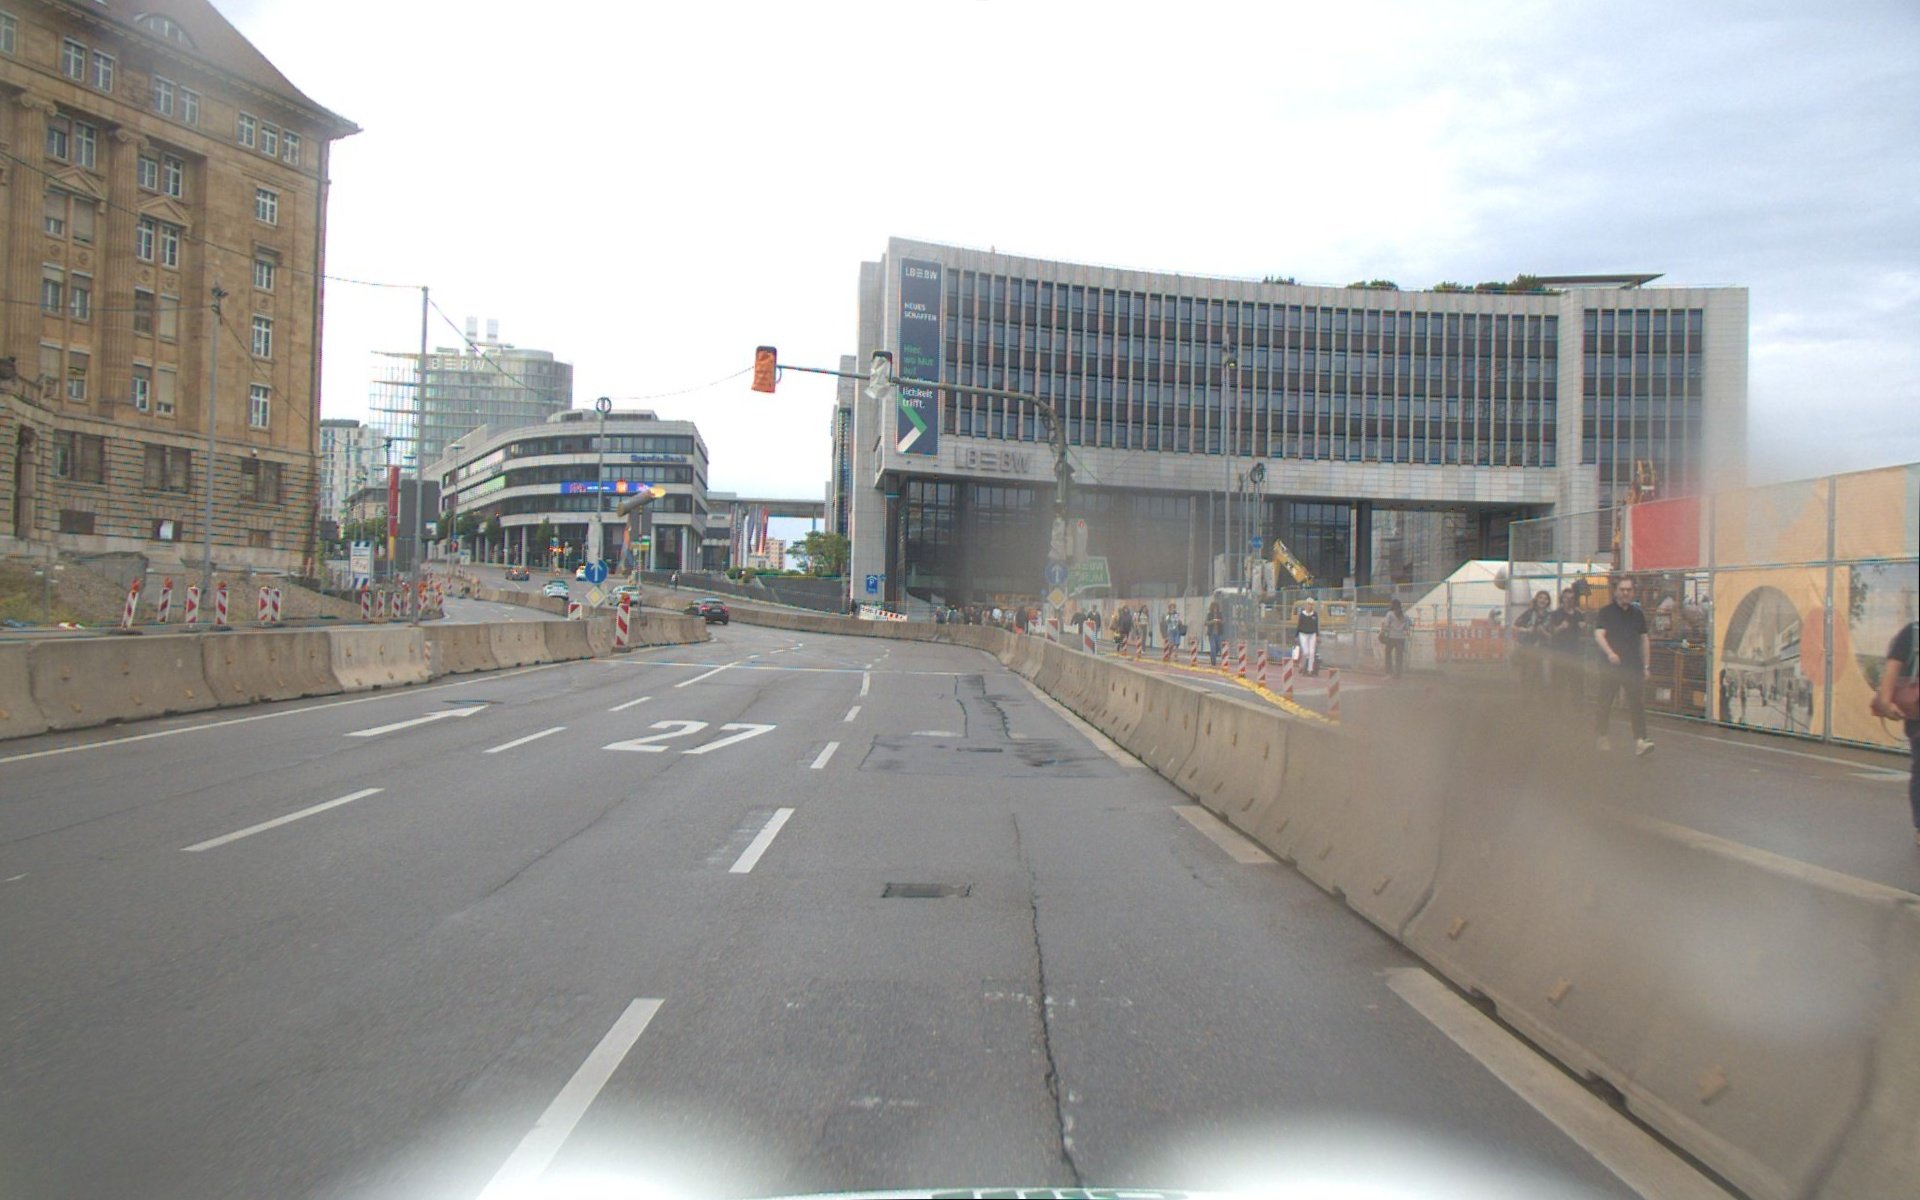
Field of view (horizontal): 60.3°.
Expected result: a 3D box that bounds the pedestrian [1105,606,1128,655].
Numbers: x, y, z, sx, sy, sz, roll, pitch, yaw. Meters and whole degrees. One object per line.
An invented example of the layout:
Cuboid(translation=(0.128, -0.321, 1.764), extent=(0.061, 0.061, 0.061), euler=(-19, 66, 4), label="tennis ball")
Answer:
Cuboid(translation=(6.102, 1.179, 64.471), extent=(0.718, 1.886, 0.830), euler=(1, -1, -4), label="pedestrian")

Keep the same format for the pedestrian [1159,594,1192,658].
Cuboid(translation=(6.516, 0.787, 49.967), extent=(0.764, 1.894, 0.948), euler=(1, 0, -6), label="pedestrian")

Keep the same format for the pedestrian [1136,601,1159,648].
Cuboid(translation=(7.571, 0.979, 66.775), extent=(0.764, 1.894, 0.810), euler=(0, 0, -6), label="pedestrian")

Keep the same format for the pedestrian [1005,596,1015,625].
Cuboid(translation=(3.062, 0.661, 100.907), extent=(0.490, 1.734, 0.732), euler=(1, 0, -4), label="pedestrian")

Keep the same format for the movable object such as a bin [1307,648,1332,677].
Cuboid(translation=(8.277, 1.437, 38.098), extent=(0.425, 0.635, 0.534), euler=(1, 0, -6), label="movable object such as a bin")

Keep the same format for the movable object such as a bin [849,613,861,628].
Cuboid(translation=(-6.880, 1.322, 108.429), extent=(0.590, 0.950, 0.736), euler=(2, -1, -24), label="movable object such as a bin")

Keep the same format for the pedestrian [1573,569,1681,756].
Cuboid(translation=(7.030, 0.641, 17.458), extent=(0.780, 1.910, 0.820), euler=(1, 0, 0), label="pedestrian")

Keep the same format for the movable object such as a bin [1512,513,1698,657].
Cuboid(translation=(16.766, -0.380, 43.351), extent=(3.844, 3.553, 4.359), euler=(0, 0, 11), label="movable object such as a bin")

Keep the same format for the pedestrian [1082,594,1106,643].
Cuboid(translation=(5.285, 0.720, 65.058), extent=(0.764, 1.894, 0.810), euler=(1, 0, -6), label="pedestrian")

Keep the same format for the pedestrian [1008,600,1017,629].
Cuboid(translation=(3.101, 0.859, 98.655), extent=(0.439, 1.734, 0.646), euler=(1, 0, -4), label="pedestrian")

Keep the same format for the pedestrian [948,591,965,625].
Cuboid(translation=(-0.190, 0.393, 83.740), extent=(0.647, 1.670, 0.820), euler=(1, 0, -14), label="pedestrian")

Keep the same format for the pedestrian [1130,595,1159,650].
Cuboid(translation=(6.469, 0.770, 58.137), extent=(0.764, 1.894, 1.057), euler=(1, 0, -6), label="pedestrian")

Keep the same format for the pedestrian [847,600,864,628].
Cuboid(translation=(-6.894, 0.929, 108.846), extent=(0.746, 1.821, 1.050), euler=(2, -1, -23), label="pedestrian")

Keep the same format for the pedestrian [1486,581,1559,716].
Cuboid(translation=(7.909, 0.674, 23.264), extent=(0.780, 1.866, 0.626), euler=(1, -1, -1), label="pedestrian")

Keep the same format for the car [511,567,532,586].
Cuboid(translation=(-44.561, -2.372, 167.950), extent=(1.961, 1.835, 4.247), euler=(1, 1, -16), label="car")

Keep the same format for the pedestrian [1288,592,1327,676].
Cuboid(translation=(7.930, 0.775, 37.778), extent=(0.652, 1.894, 0.682), euler=(1, 0, -6), label="pedestrian")

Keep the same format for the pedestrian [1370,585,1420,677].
Cuboid(translation=(9.045, 0.636, 34.392), extent=(0.771, 1.894, 0.682), euler=(1, 0, -6), label="pedestrian")

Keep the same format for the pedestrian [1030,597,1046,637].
Cuboid(translation=(4.086, 0.879, 86.983), extent=(0.768, 2.049, 0.863), euler=(1, 0, 4), label="pedestrian")

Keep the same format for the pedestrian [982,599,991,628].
Cuboid(translation=(1.583, 0.789, 98.957), extent=(0.438, 1.734, 0.647), euler=(1, 0, 6), label="pedestrian")

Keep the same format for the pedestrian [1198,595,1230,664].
Cuboid(translation=(7.130, 0.824, 46.491), extent=(0.676, 1.894, 0.810), euler=(1, 0, -6), label="pedestrian")

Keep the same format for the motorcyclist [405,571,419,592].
Cuboid(translation=(-38.995, -1.306, 117.728), extent=(0.789, 1.476, 0.818), euler=(1, 0, -28), label="motorcyclist")

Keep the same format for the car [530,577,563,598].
Cuboid(translation=(-32.477, -0.985, 129.869), extent=(1.721, 1.532, 3.720), euler=(2, 0, -27), label="car")

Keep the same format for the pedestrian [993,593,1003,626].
Cuboid(translation=(2.201, 0.544, 95.841), extent=(0.518, 1.850, 0.536), euler=(1, 0, -3), label="pedestrian")

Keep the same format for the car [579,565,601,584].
Cuboid(translation=(-38.550, -2.662, 172.381), extent=(1.961, 1.835, 4.247), euler=(1, 1, -16), label="car")

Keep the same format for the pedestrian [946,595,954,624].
Cuboid(translation=(-0.621, 0.582, 102.313), extent=(0.439, 1.734, 0.646), euler=(1, 0, -7), label="pedestrian")

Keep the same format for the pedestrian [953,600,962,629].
Cuboid(translation=(-0.174, 0.894, 102.361), extent=(0.445, 1.734, 0.646), euler=(1, 0, -7), label="pedestrian")

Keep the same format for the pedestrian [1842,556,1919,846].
Cuboid(translation=(6.512, 0.661, 10.995), extent=(0.906, 1.866, 0.686), euler=(1, 0, -1), label="pedestrian")

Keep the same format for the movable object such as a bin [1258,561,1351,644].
Cuboid(translation=(17.727, 0.142, 85.284), extent=(3.048, 4.100, 3.667), euler=(2, 0, -25), label="movable object such as a bin")

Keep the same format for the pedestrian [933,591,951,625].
Cuboid(translation=(-0.910, 0.394, 83.541), extent=(0.738, 1.670, 0.820), euler=(1, 0, -14), label="pedestrian")

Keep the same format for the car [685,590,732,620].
Cuboid(translation=(-14.536, 0.310, 95.538), extent=(1.654, 1.535, 3.714), euler=(2, -3, -26), label="car")

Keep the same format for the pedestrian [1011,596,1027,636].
Cuboid(translation=(3.127, 0.834, 87.070), extent=(0.768, 2.049, 0.863), euler=(1, 0, 4), label="pedestrian")

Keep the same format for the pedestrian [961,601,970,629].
Cuboid(translation=(0.340, 0.923, 102.427), extent=(0.439, 1.734, 0.646), euler=(1, 0, -7), label="pedestrian")

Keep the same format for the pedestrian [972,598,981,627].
Cuboid(translation=(0.981, 0.750, 99.288), extent=(0.439, 1.734, 0.647), euler=(1, 0, 3), label="pedestrian")

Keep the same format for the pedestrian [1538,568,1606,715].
Cuboid(translation=(8.660, 0.574, 23.420), extent=(0.665, 2.048, 0.686), euler=(1, 1, -1), label="pedestrian")

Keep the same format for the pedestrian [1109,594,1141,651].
Cuboid(translation=(5.659, 0.764, 56.750), extent=(0.853, 1.894, 0.947), euler=(1, 0, -6), label="pedestrian")

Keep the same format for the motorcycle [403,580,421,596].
Cuboid(translation=(-38.995, -0.856, 117.667), extent=(0.859, 1.168, 2.135), euler=(1, 0, -27), label="motorcycle")

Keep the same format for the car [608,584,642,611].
Cuboid(translation=(-23.797, -0.192, 117.429), extent=(1.714, 1.908, 3.753), euler=(1, 0, -21), label="car")

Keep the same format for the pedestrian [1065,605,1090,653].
Cuboid(translation=(4.561, 1.124, 64.288), extent=(0.803, 1.859, 1.110), euler=(0, 0, -5), label="pedestrian")
